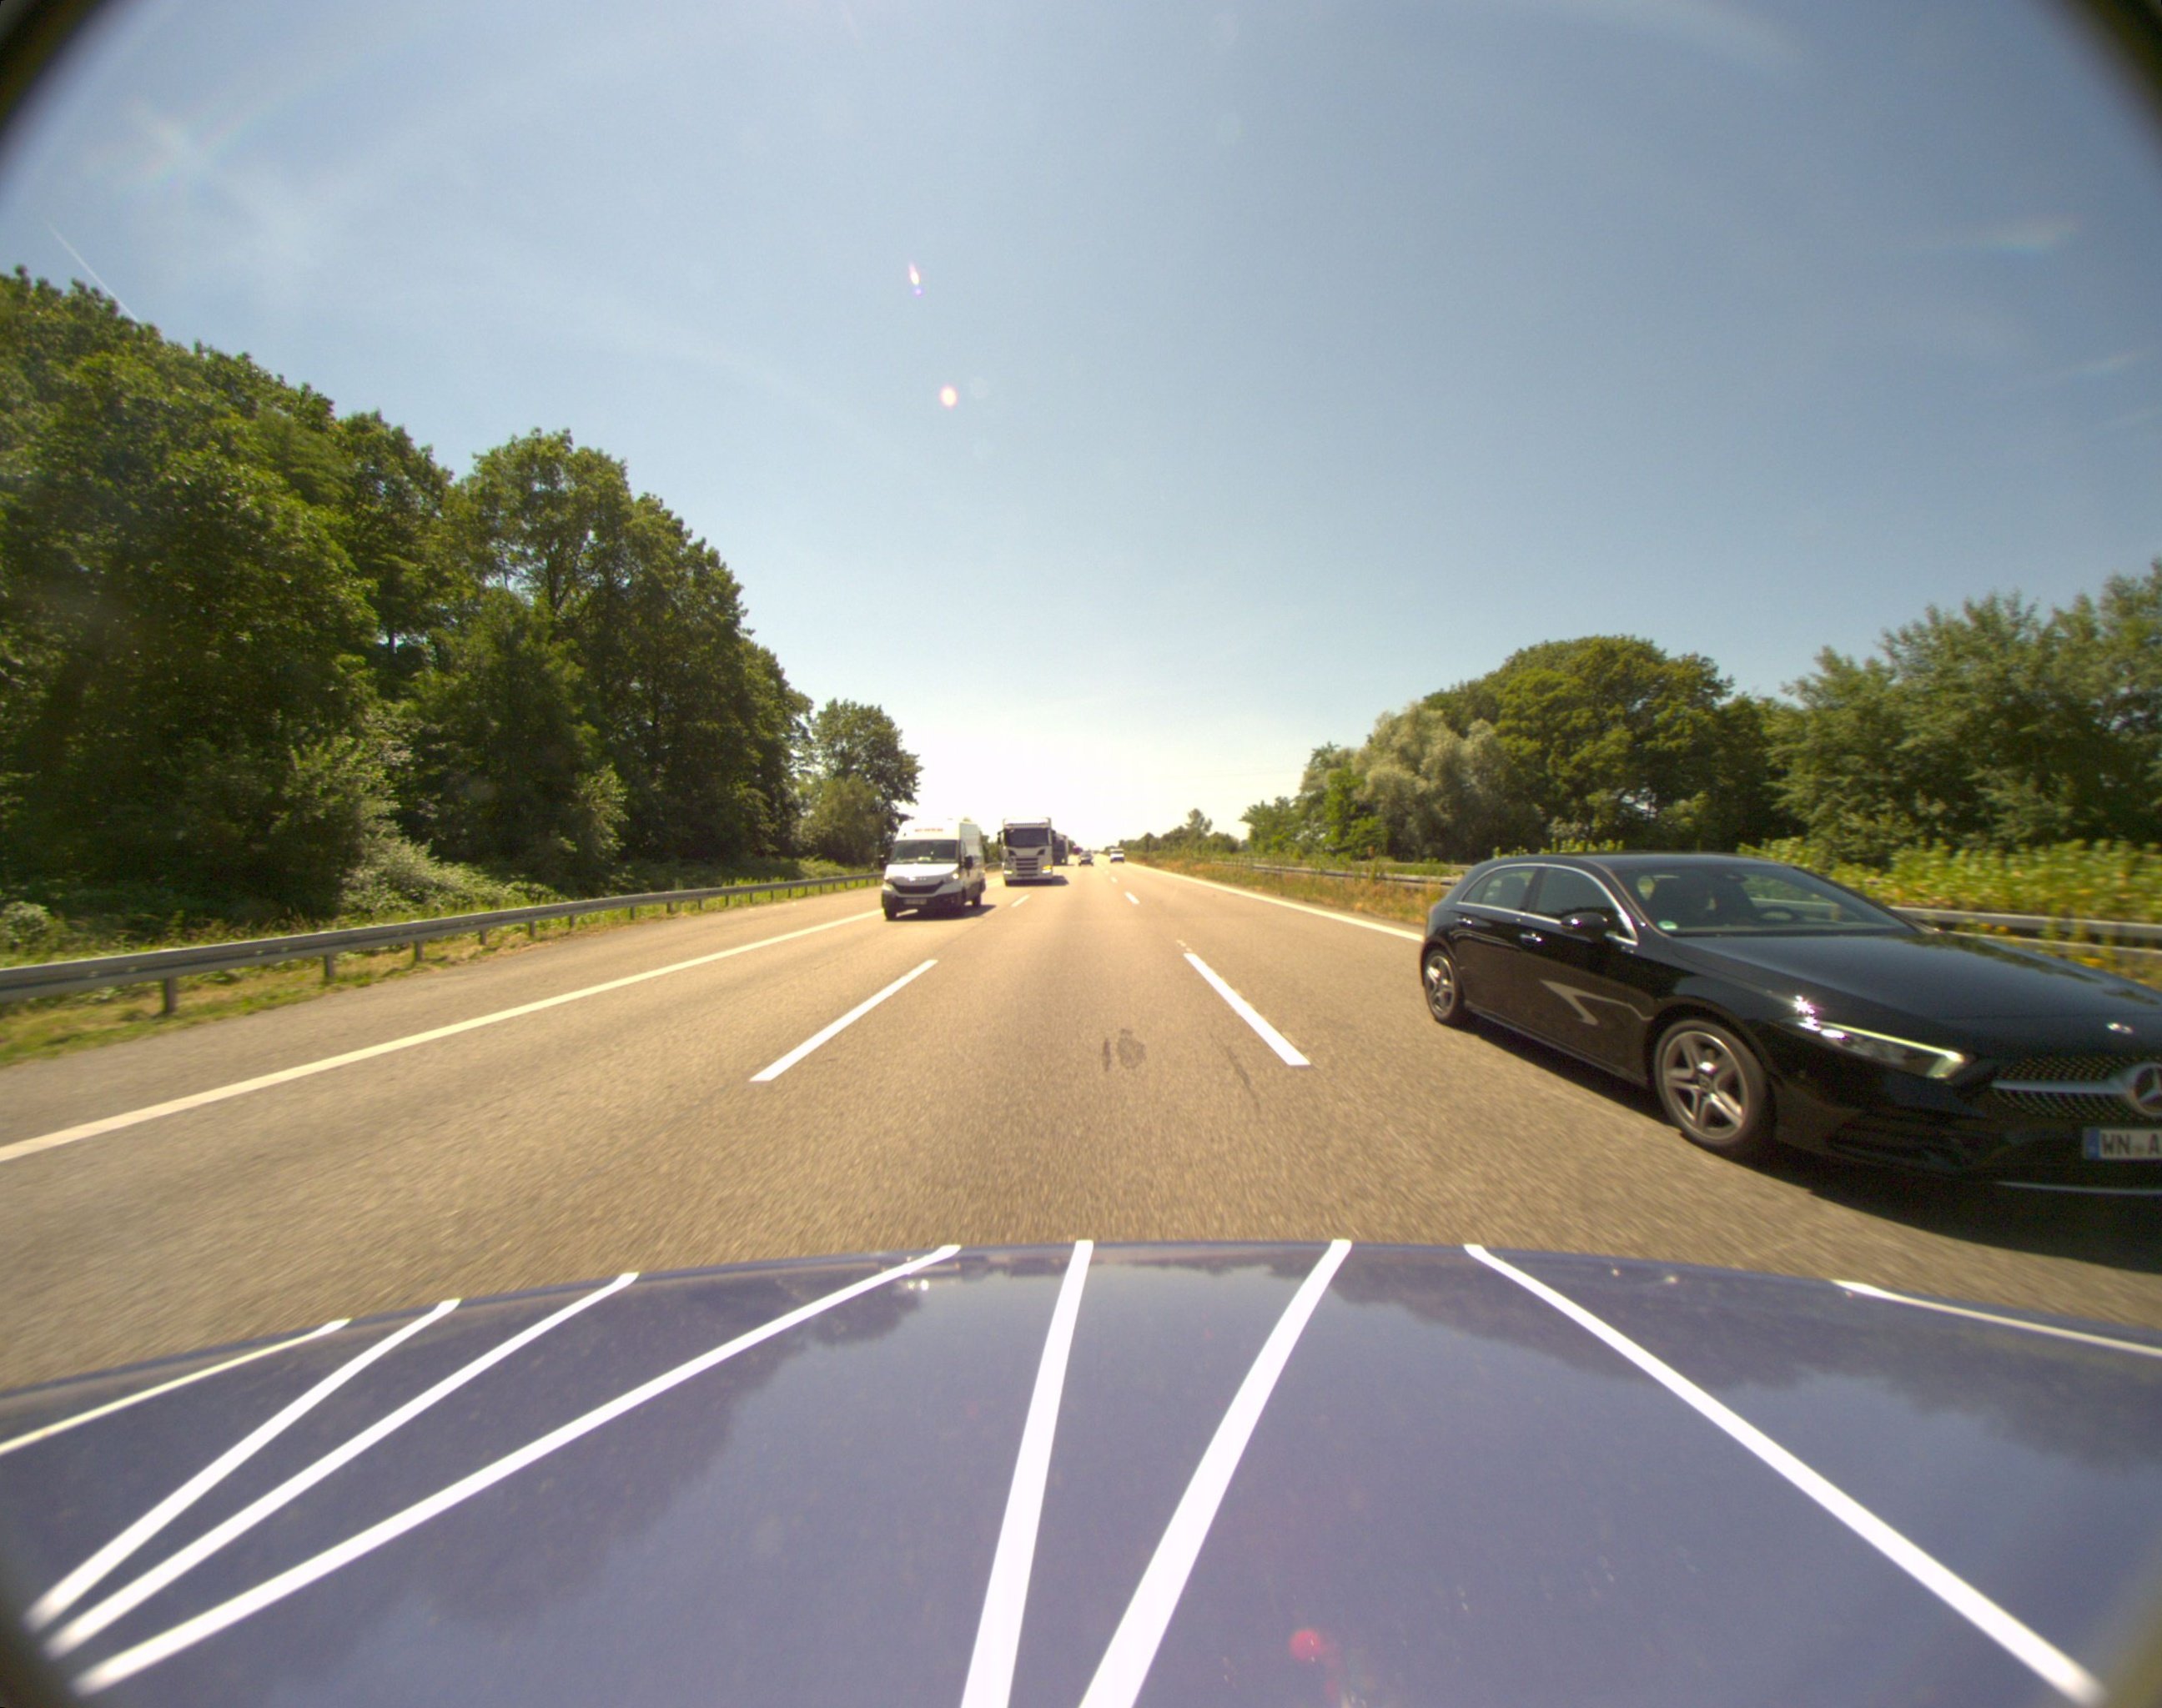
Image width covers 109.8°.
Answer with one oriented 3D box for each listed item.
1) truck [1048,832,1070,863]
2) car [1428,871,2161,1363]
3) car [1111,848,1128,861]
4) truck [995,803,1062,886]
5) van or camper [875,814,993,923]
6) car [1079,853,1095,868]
[{"bbox_3d":[-2.919,-0.798,101.117,2.559,3.931,6.513,-1,0,0],"label":"truck"},{"bbox_3d":[3.799,0.863,4.368,1.796,1.403,4.052,-1,0,1],"label":"car"},{"bbox_3d":[5.606,0.070,110.590,2.147,1.810,5.267,-1,0,1],"label":"car"},{"bbox_3d":[-2.686,-0.507,41.024,2.896,4.007,6.869,-2,1,1],"label":"truck"},{"bbox_3d":[-3.996,0.348,21.933,2.027,2.622,6.486,-2,0,0],"label":"van or camper"},{"bbox_3d":[0.760,0.781,92.223,1.796,1.696,4.000,1,0,1],"label":"car"}]
